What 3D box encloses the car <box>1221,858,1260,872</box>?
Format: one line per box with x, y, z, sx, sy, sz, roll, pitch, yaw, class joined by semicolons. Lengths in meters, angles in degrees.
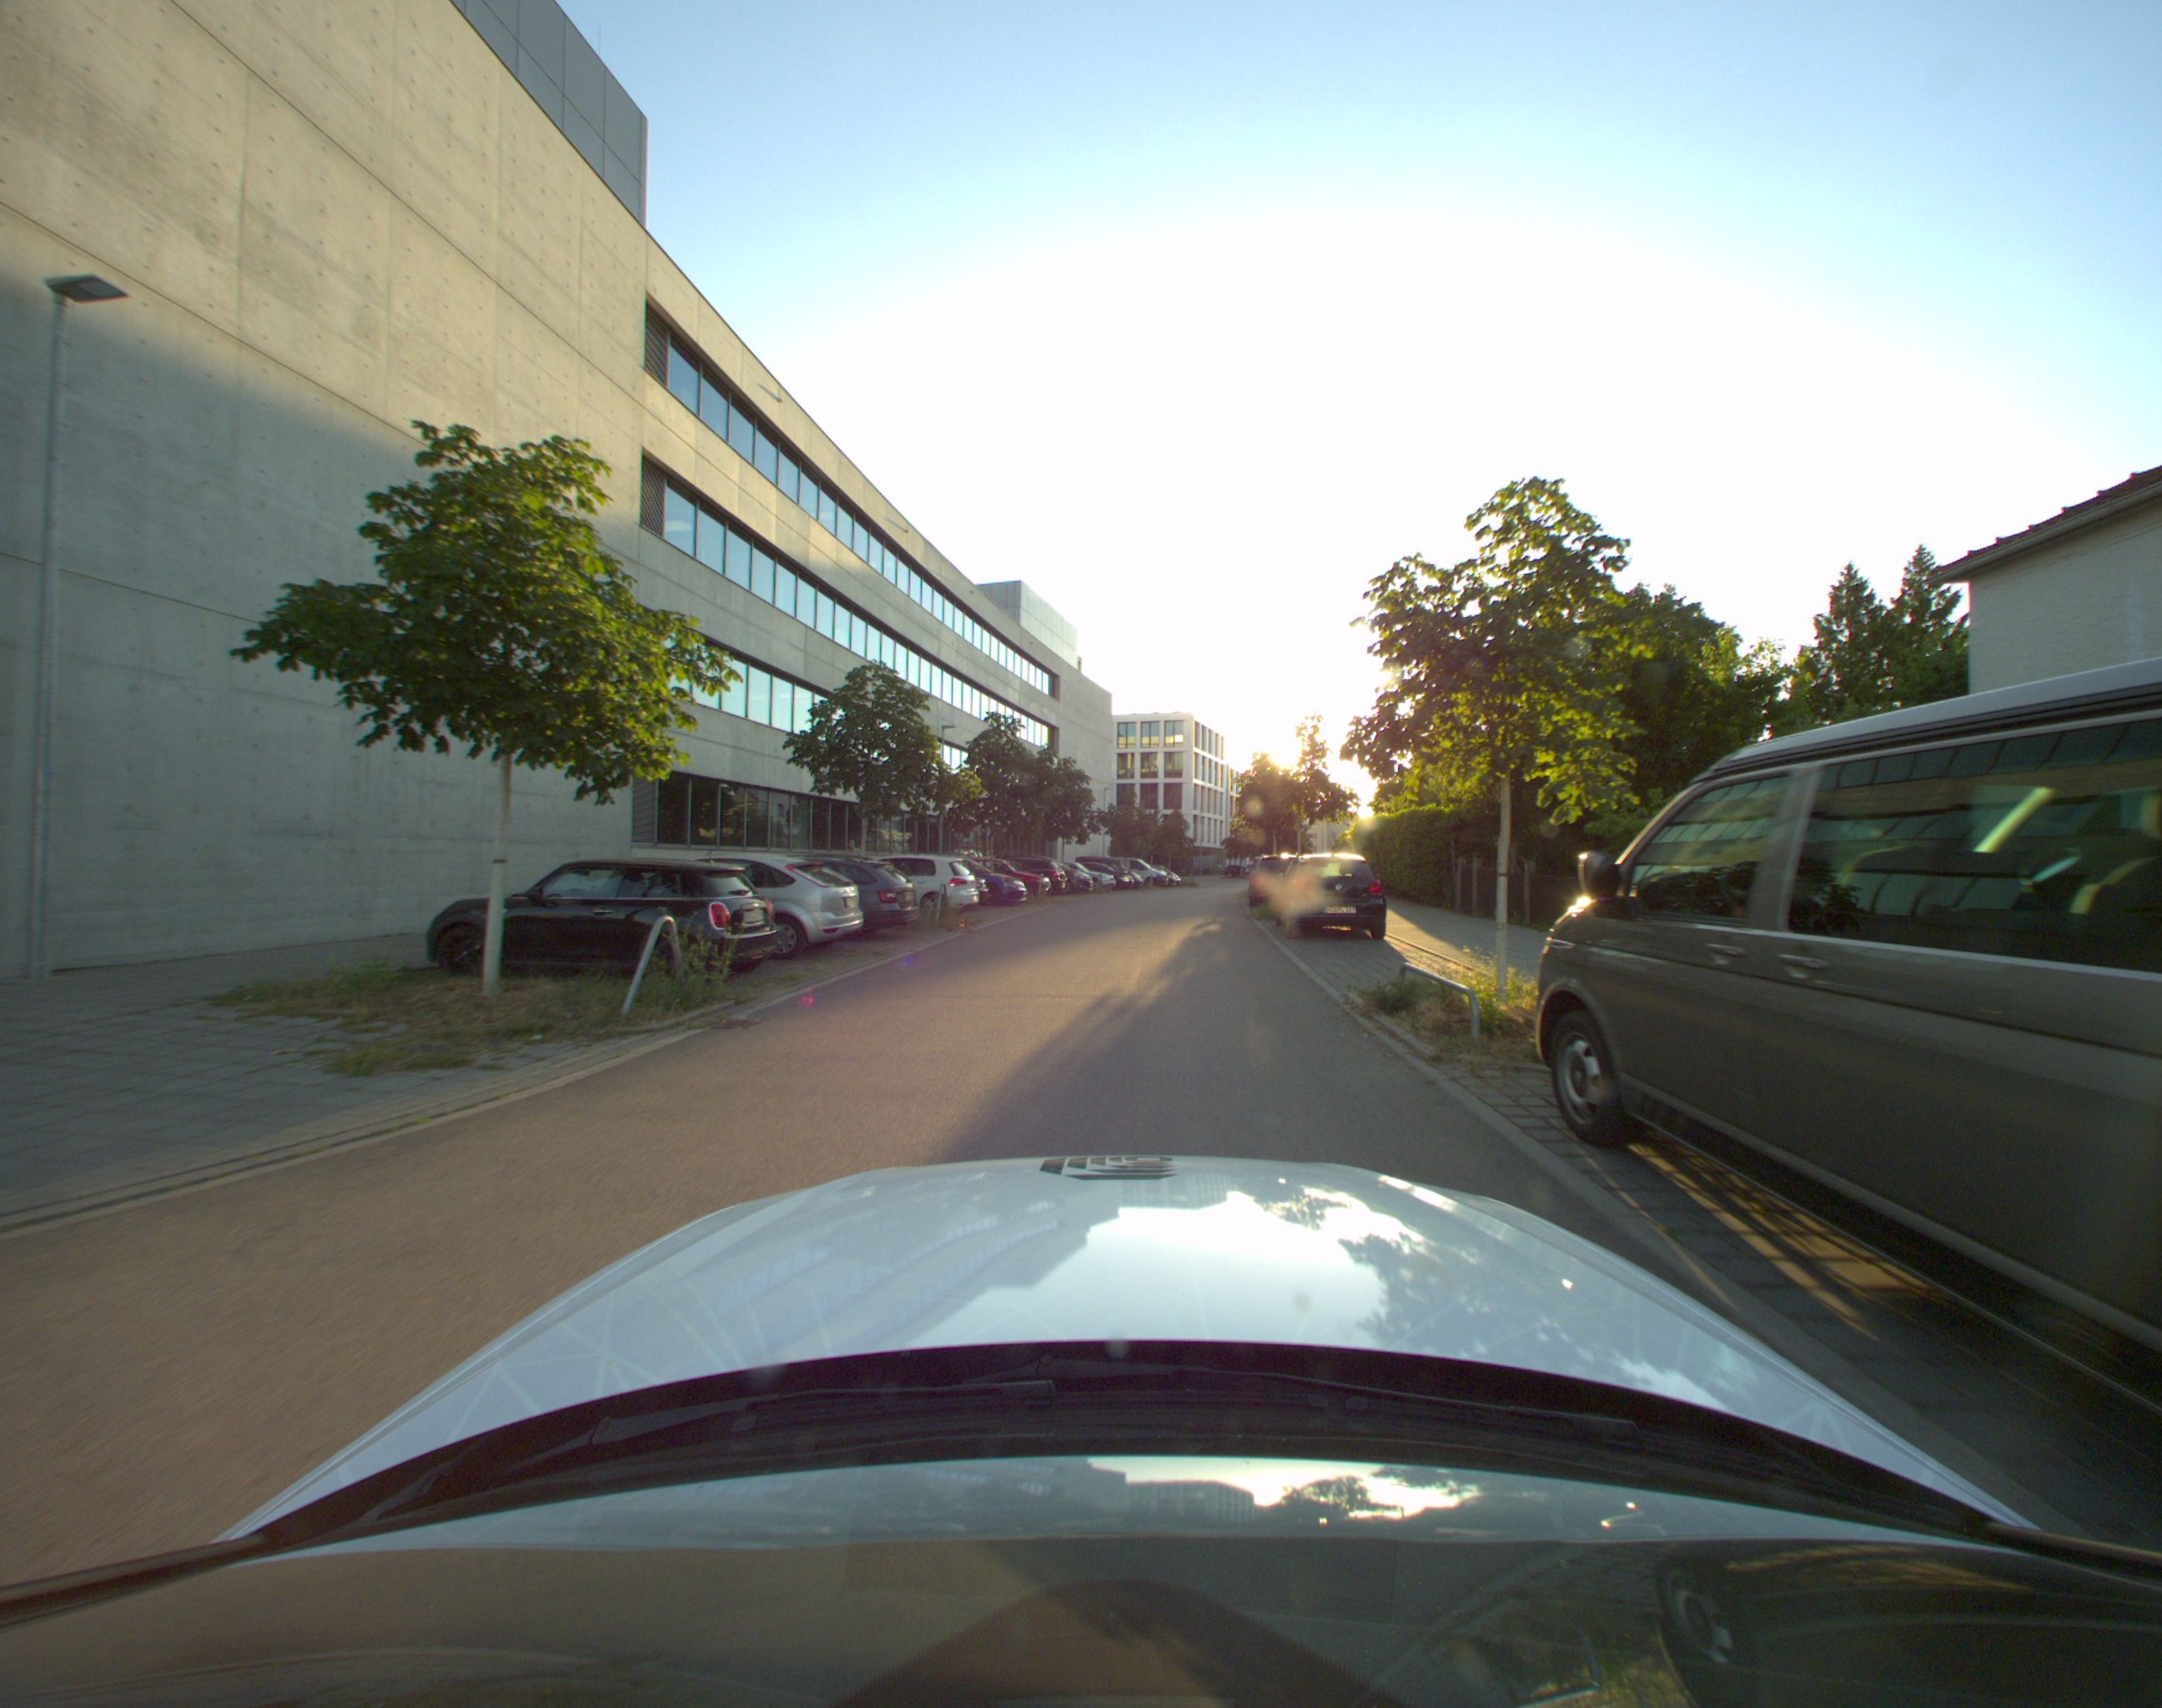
18.106;1.209;92.569;4.014;1.479;1.777;2;-1;24;car

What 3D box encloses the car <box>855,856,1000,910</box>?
-4.232;0.780;22.811;3.616;1.362;1.688;1;0;4;car

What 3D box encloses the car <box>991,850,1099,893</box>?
-1.516;0.748;35.072;4.281;1.696;1.902;1;-1;11;car

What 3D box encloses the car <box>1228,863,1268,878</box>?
18.010;1.746;87.750;4.015;1.479;1.777;2;1;21;car

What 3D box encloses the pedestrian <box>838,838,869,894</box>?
-7.375;0.382;26.441;0.642;1.784;0.727;1;-1;9;pedestrian

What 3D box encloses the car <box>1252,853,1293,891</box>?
8.003;0.744;33.867;1.566;1.510;3.509;-1;-1;15;car

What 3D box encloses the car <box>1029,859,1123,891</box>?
-0.228;1.033;40.882;4.401;1.464;1.770;1;0;15;car

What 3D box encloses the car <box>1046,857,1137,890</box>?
0.567;1.023;43.181;4.362;1.499;1.771;2;-1;19;car

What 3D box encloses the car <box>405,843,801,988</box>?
-5.611;0.669;9.880;3.718;1.482;1.771;2;0;3;car

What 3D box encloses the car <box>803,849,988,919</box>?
-4.424;0.691;19.753;3.965;1.511;1.763;1;0;7;car

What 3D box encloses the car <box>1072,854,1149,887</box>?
1.772;0.968;48.359;4.215;1.742;1.731;2;-1;15;car

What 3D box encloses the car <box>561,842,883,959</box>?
-5.379;0.664;12.580;4.069;1.528;1.847;2;0;3;car

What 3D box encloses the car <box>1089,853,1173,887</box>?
3.261;1.051;52.738;5.037;1.947;1.897;2;-1;16;car

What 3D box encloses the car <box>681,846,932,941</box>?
-4.912;0.671;14.901;3.981;1.512;1.586;2;1;3;car

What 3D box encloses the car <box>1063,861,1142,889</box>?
1.228;1.196;46.423;4.113;1.404;1.731;2;-1;15;car

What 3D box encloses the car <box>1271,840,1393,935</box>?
4.565;0.561;15.269;1.730;1.552;3.649;0;0;10;car

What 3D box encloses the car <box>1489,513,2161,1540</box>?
3.335;0.353;2.597;2.055;2.095;4.880;0;0;6;car

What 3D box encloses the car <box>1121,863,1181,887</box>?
4.986;1.461;57.855;3.856;1.489;1.658;2;-1;17;car

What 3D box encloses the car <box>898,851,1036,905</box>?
-3.513;0.707;25.373;3.847;1.511;1.764;1;0;9;car

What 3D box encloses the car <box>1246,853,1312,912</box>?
5.704;0.761;23.838;1.699;1.550;4.562;0;0;12;car

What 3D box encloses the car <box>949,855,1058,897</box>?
-2.856;0.814;30.417;3.679;1.458;1.716;1;-1;10;car

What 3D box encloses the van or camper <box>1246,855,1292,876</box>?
23.950;1.399;103.683;5.404;2.484;1.785;2;0;24;van or camper

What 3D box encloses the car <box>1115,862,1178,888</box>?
4.444;1.418;55.321;3.958;1.522;1.612;2;-1;15;car

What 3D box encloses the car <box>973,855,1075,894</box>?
-2.239;0.808;32.510;3.678;1.458;1.684;1;-1;11;car
